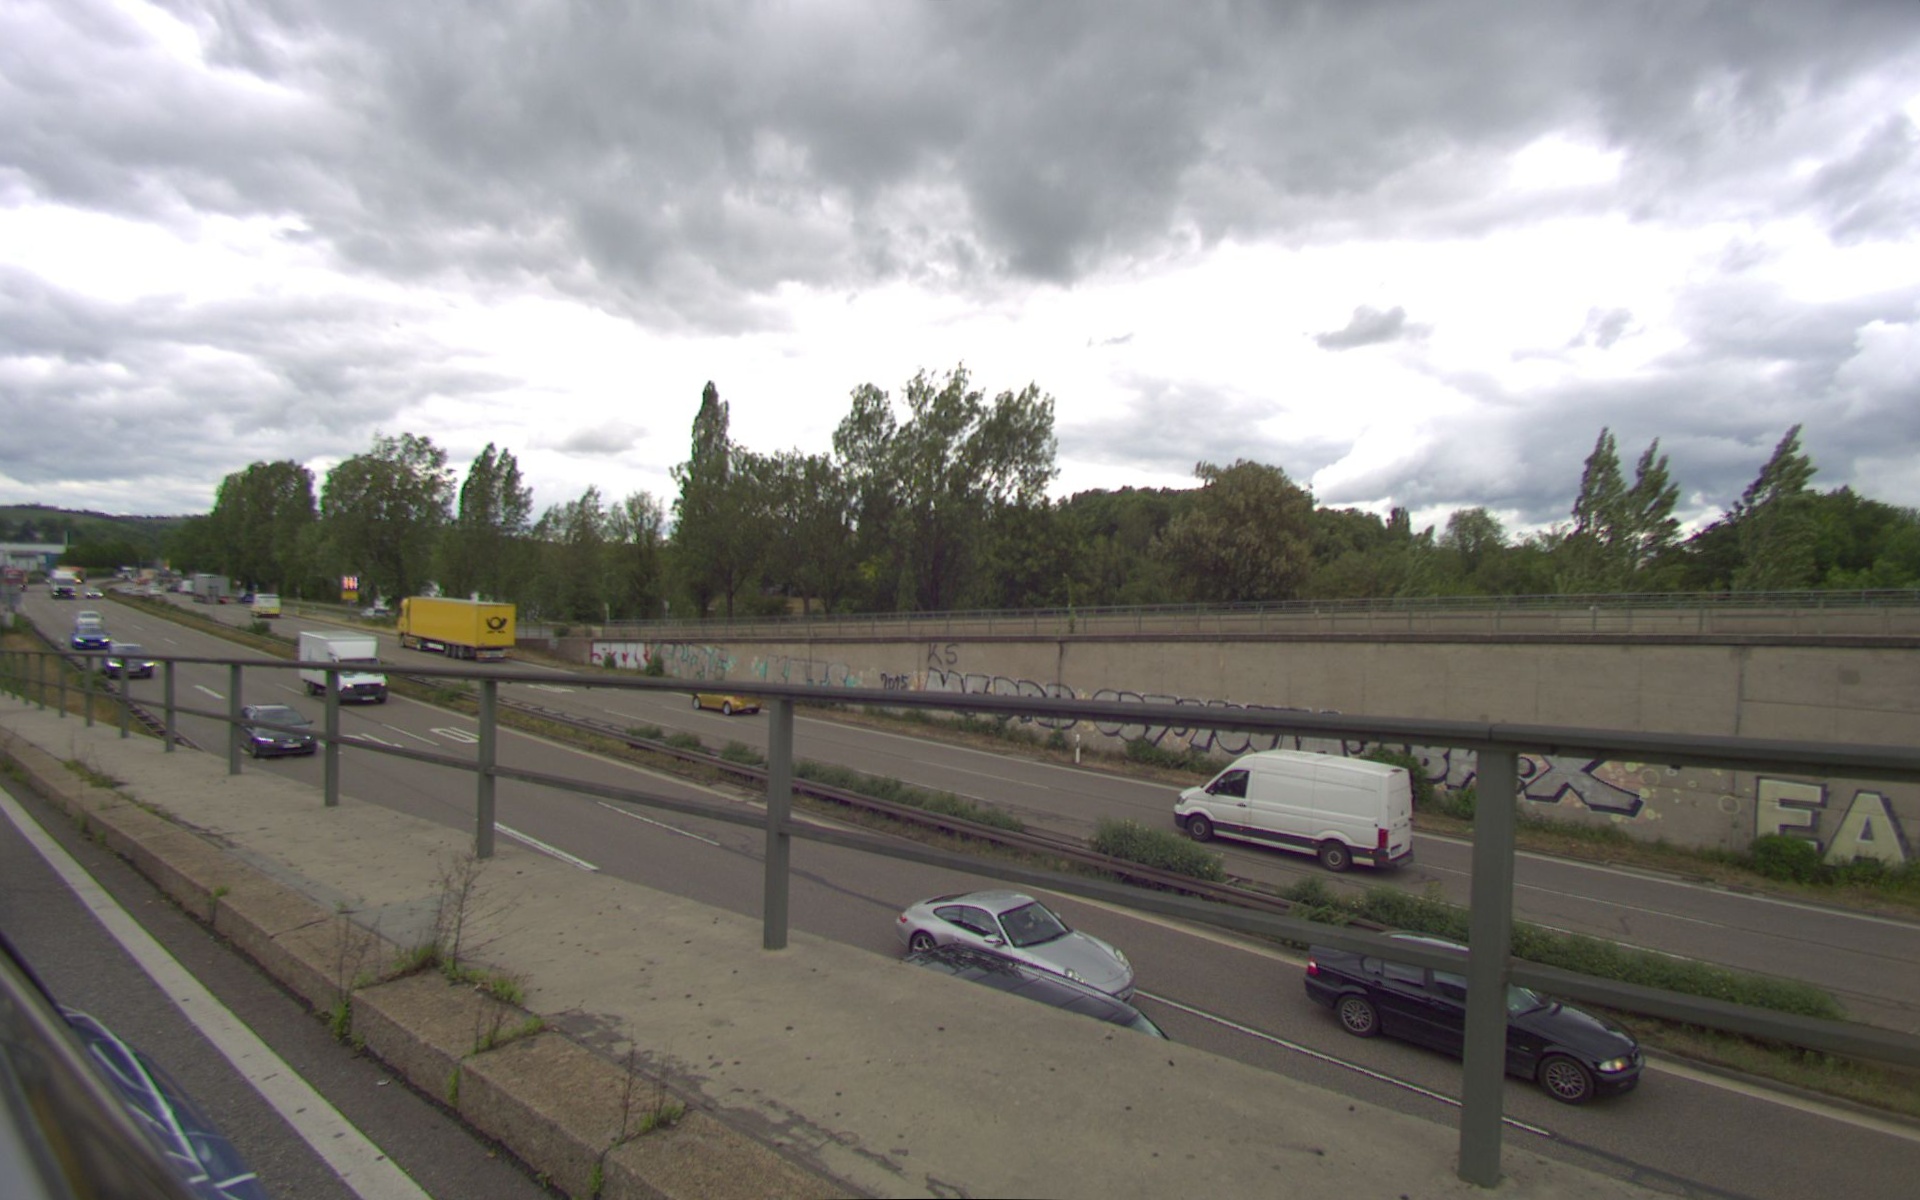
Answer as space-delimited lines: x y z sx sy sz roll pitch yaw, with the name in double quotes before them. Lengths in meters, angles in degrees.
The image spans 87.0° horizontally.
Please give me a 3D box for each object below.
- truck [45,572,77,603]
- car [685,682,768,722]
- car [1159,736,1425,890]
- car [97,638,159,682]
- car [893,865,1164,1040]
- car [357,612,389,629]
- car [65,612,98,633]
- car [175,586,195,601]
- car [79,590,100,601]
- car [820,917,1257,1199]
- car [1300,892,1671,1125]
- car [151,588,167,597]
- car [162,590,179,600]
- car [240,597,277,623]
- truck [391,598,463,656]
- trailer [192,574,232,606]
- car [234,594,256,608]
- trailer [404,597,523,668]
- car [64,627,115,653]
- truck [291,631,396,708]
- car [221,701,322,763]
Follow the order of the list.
"truck" -128.916 -1.839 145.104 2.969 4.140 5.878 3 0 -45
"car" -11.346 4.897 49.046 4.152 1.468 1.848 2 0 41
"car" 8.365 5.244 25.987 6.101 2.613 2.144 2 0 42
"car" -43.672 3.115 53.101 4.001 2.029 1.971 2 -1 43
"car" 1.011 5.534 16.386 4.153 1.311 1.766 3 0 43
"car" -64.543 2.233 111.276 4.378 1.664 1.872 1 2 43
"car" -73.450 1.856 84.597 3.337 1.539 1.745 2 0 43
"car" -146.062 -1.239 190.739 5.180 2.669 1.972 2 -3 42
"car" -131.524 -0.689 152.919 4.439 1.582 1.830 3 2 43
"car" 0.716 5.143 11.081 4.422 1.853 1.973 2 0 40
"car" 7.442 5.660 14.633 4.425 1.476 1.838 2 2 43
"car" -141.684 -1.319 178.913 4.002 1.431 1.660 3 0 44
"car" -160.220 -0.961 205.366 4.562 1.831 1.861 2 -3 42
"car" -78.084 1.064 112.588 6.715 2.648 1.972 2 -1 43
"truck" -41.147 2.028 78.069 5.806 4.213 3.204 2 0 44
"trailer" -110.523 -1.553 149.359 2.754 4.170 13.774 1 1 -45
"car" -109.309 0.106 154.719 1.970 1.914 4.587 6 -3 -44
"trailer" -36.139 2.181 73.207 13.685 4.294 3.204 2 0 44
"car" -58.442 2.663 67.919 3.999 1.544 1.973 2 -1 41
"truck" -29.479 3.202 48.287 7.229 3.031 2.210 2 1 41
"car" -23.211 4.373 34.060 4.126 1.461 1.804 2 0 41
